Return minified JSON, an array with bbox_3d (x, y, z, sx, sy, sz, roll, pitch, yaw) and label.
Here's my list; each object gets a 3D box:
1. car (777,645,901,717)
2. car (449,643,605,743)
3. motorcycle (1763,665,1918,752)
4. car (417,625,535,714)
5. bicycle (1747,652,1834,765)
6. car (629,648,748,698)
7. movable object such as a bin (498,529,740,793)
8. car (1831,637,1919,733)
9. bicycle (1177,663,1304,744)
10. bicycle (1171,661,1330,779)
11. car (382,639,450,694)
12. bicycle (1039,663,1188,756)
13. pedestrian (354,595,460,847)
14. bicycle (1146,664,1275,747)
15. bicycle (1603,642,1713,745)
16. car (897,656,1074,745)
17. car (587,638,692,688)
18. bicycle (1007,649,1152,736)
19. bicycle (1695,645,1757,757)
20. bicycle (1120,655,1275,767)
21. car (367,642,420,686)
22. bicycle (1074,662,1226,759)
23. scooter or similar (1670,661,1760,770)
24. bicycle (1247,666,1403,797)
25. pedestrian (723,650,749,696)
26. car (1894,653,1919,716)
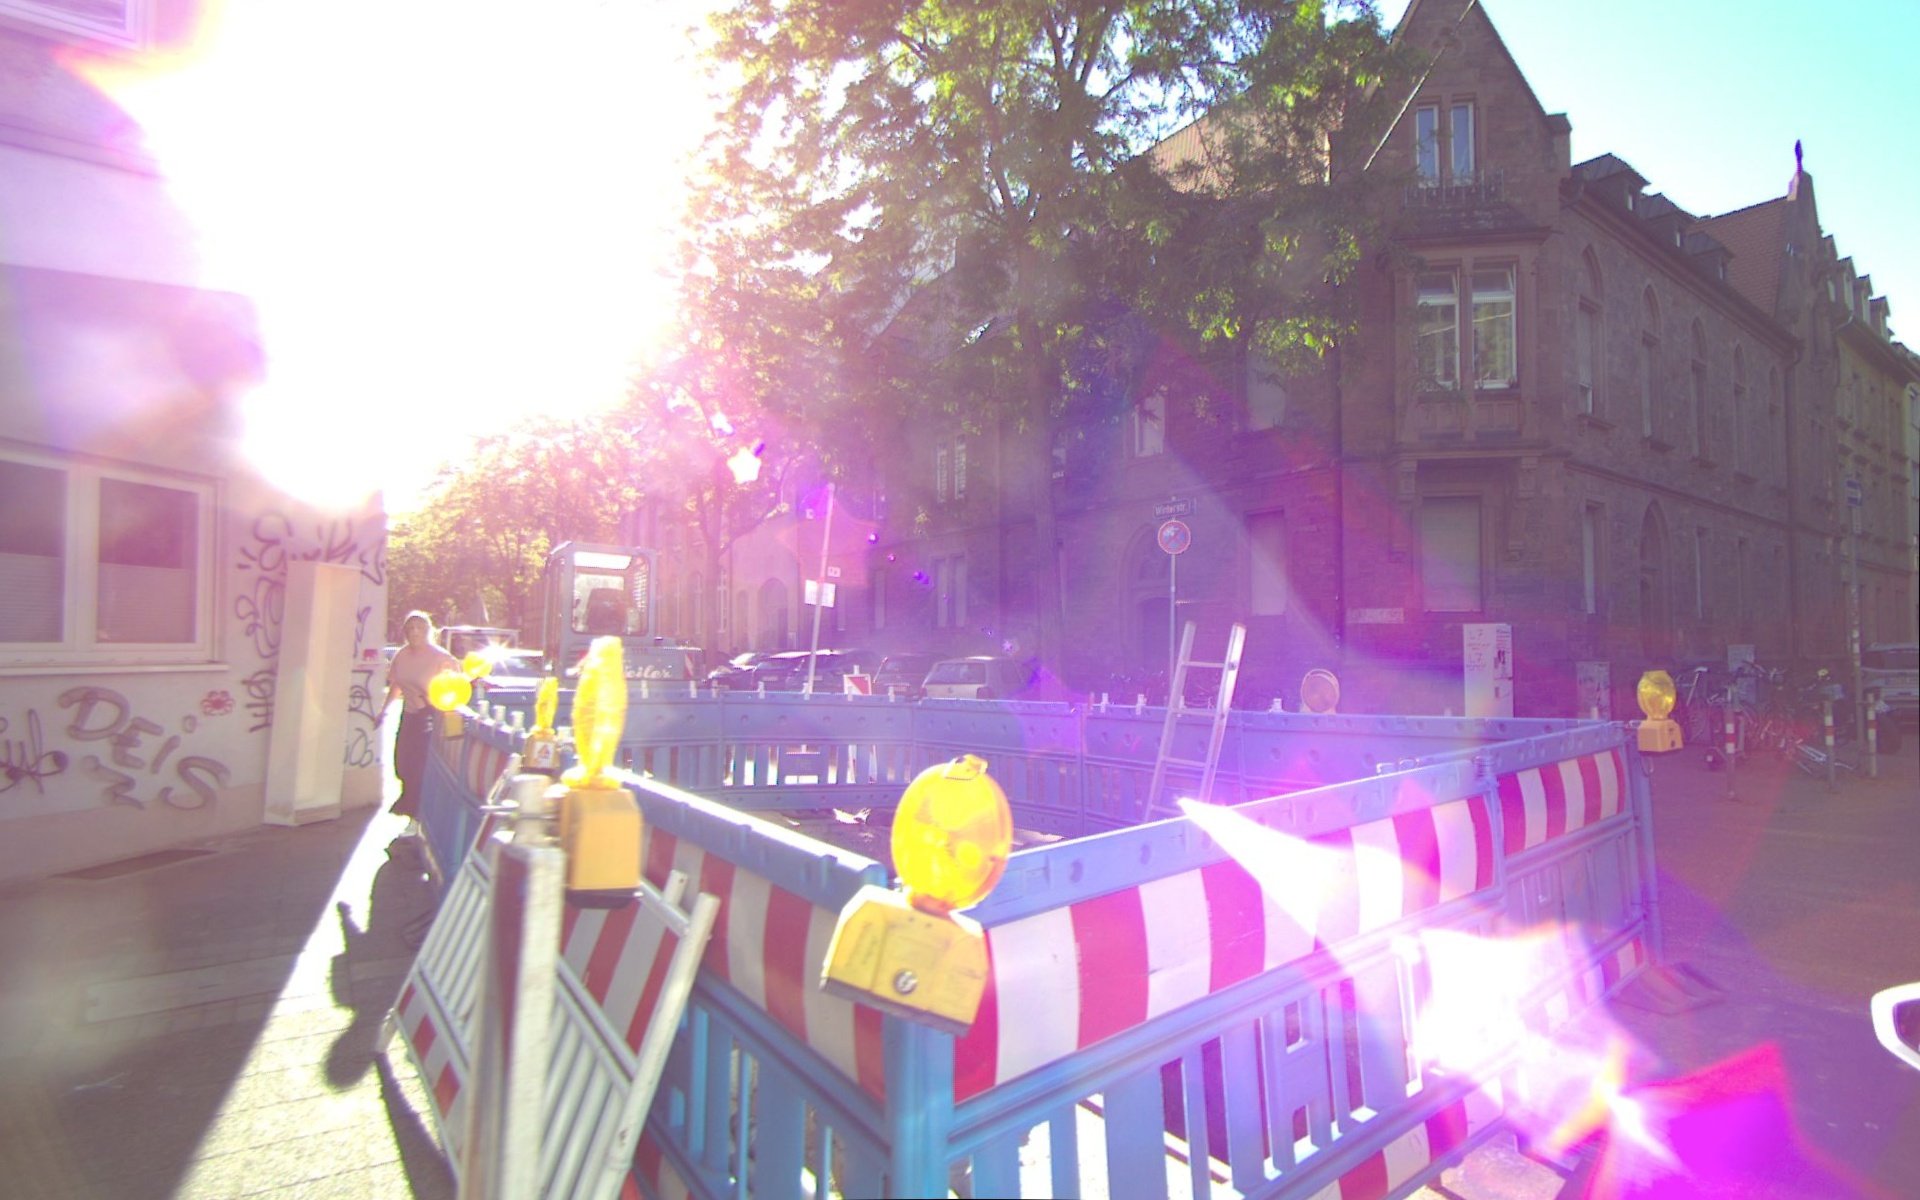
[{"bbox_3d":[-2.865,1.928,24.661,1.823,1.613,4.004,-1,-3,12],"label":"car"},{"bbox_3d":[-7.963,1.633,18.253,1.889,1.587,4.167,4,-5,-33],"label":"car"},{"bbox_3d":[13.567,1.628,15.584,0.653,1.222,2.313,-1,-3,9],"label":"motorcycle"},{"bbox_3d":[-12.007,1.685,24.741,1.979,1.964,4.570,2,-4,-34],"label":"car"},{"bbox_3d":[11.045,1.385,13.420,0.674,1.362,2.494,-2,-4,35],"label":"bicycle"},{"bbox_3d":[-9.234,2.455,34.430,1.825,1.588,3.998,-2,-3,24],"label":"car"},{"bbox_3d":[-4.040,0.692,11.728,2.049,2.634,2.736,1,-3,-34],"label":"movable object such as a bin"},{"bbox_3d":[18.644,1.617,19.485,3.965,1.729,1.868,3,-5,-38],"label":"car"},{"bbox_3d":[4.514,1.636,16.279,0.679,1.195,1.949,0,-3,-37],"label":"bicycle"},{"bbox_3d":[3.835,1.507,13.140,2.423,1.338,0.678,0,-2,-38],"label":"bicycle"},{"bbox_3d":[-19.097,2.300,35.178,1.816,1.823,3.966,1,-3,-32],"label":"car"},{"bbox_3d":[2.321,1.584,14.952,2.422,1.195,0.678,0,-2,-38],"label":"bicycle"},{"bbox_3d":[-4.100,0.867,7.449,0.554,1.763,0.519,2,-4,-43],"label":"pedestrian"},{"bbox_3d":[3.922,1.631,15.875,0.679,1.195,1.948,0,-3,-37],"label":"bicycle"},{"bbox_3d":[10.614,1.364,15.221,2.776,1.442,0.677,2,-4,-41],"label":"bicycle"},{"bbox_3d":[0.628,1.865,19.635,1.826,1.503,4.267,-2,-3,27],"label":"car"},{"bbox_3d":[-12.841,2.514,40.440,1.825,1.927,3.998,-2,-3,24],"label":"car"},{"bbox_3d":[1.878,1.390,15.537,2.422,1.195,0.678,0,-2,-38],"label":"bicycle"},{"bbox_3d":[10.796,1.371,14.214,0.565,1.442,2.494,-2,-4,35],"label":"bicycle"},{"bbox_3d":[3.295,1.470,13.785,2.423,1.338,0.678,0,-2,-38],"label":"bicycle"},{"bbox_3d":[-24.734,2.762,43.771,1.816,1.823,3.966,1,-3,-32],"label":"car"},{"bbox_3d":[2.760,1.533,14.376,2.422,1.195,0.678,0,-2,-38],"label":"bicycle"},{"bbox_3d":[9.555,1.426,12.704,1.288,1.294,0.526,2,-3,-36],"label":"scooter or similar"},{"bbox_3d":[4.344,1.488,11.876,2.123,1.338,0.678,0,-2,-38],"label":"bicycle"},{"bbox_3d":[-9.143,2.968,40.965,0.728,1.807,0.999,2,-3,-31],"label":"pedestrian"},{"bbox_3d":[23.517,1.965,23.639,3.967,1.411,1.712,2,-4,-39],"label":"car"}]
